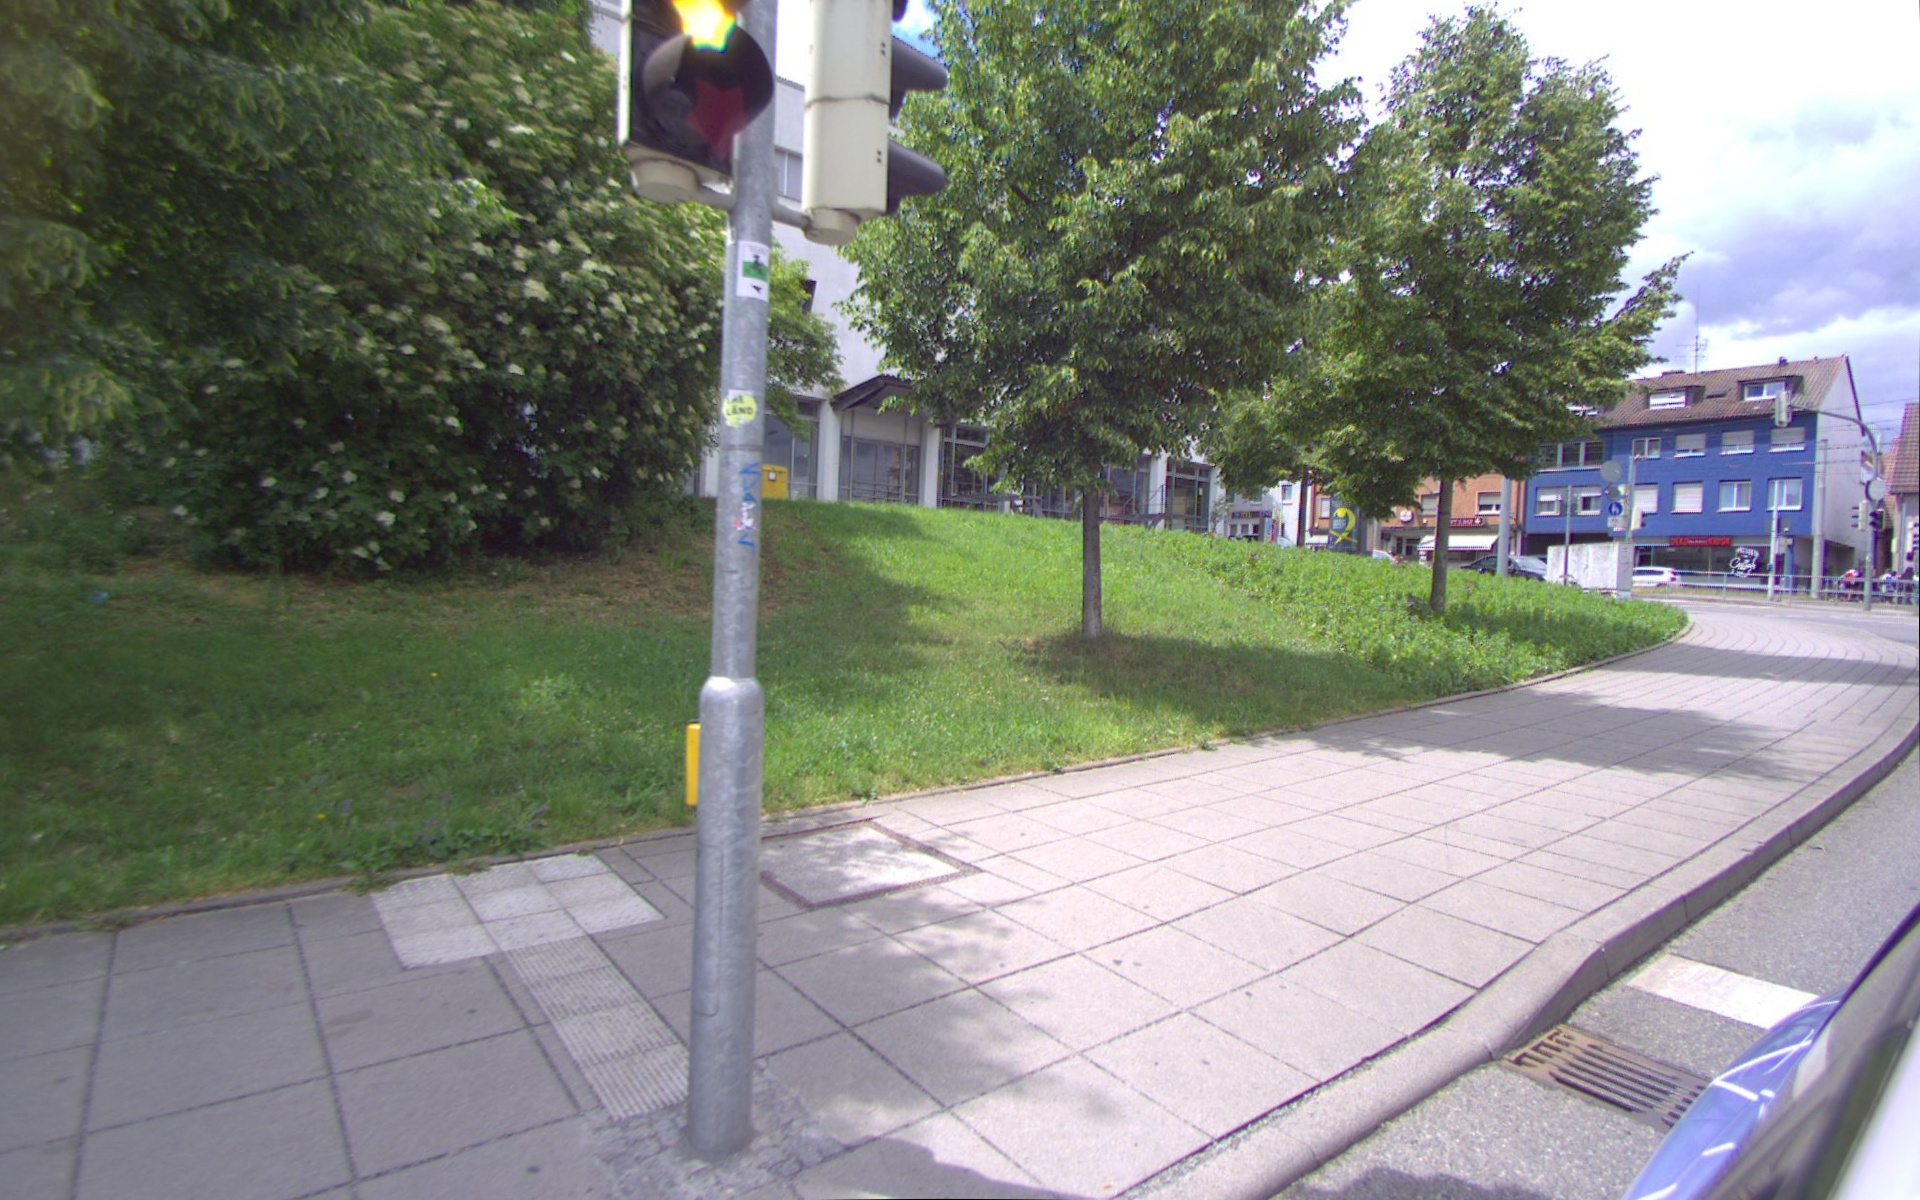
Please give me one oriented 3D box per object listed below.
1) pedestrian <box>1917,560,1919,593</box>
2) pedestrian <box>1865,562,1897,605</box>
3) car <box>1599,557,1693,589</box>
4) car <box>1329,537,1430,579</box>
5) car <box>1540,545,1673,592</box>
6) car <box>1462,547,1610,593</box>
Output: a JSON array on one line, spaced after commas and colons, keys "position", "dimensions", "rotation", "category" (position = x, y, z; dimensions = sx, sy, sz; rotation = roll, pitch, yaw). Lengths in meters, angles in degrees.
[{"position": [40.444, -0.967, 42.187], "dimensions": [0.672, 1.392, 0.626], "rotation": [4, 3, 38], "category": "pedestrian"}, {"position": [38.677, -0.706, 42.521], "dimensions": [0.744, 1.771, 0.583], "rotation": [3, 2, 22], "category": "pedestrian"}, {"position": [38.075, -1.492, 56.239], "dimensions": [1.684, 1.550, 3.992], "rotation": [2, 2, -44], "category": "car"}, {"position": [18.279, -1.829, 44.291], "dimensions": [1.958, 1.662, 4.010], "rotation": [1, 2, -16], "category": "car"}, {"position": [23.491, -1.181, 36.982], "dimensions": [1.704, 1.454, 4.105], "rotation": [0, 5, -10], "category": "car"}, {"position": [20.317, -1.100, 35.924], "dimensions": [2.010, 1.482, 4.335], "rotation": [1, 3, -15], "category": "car"}]
